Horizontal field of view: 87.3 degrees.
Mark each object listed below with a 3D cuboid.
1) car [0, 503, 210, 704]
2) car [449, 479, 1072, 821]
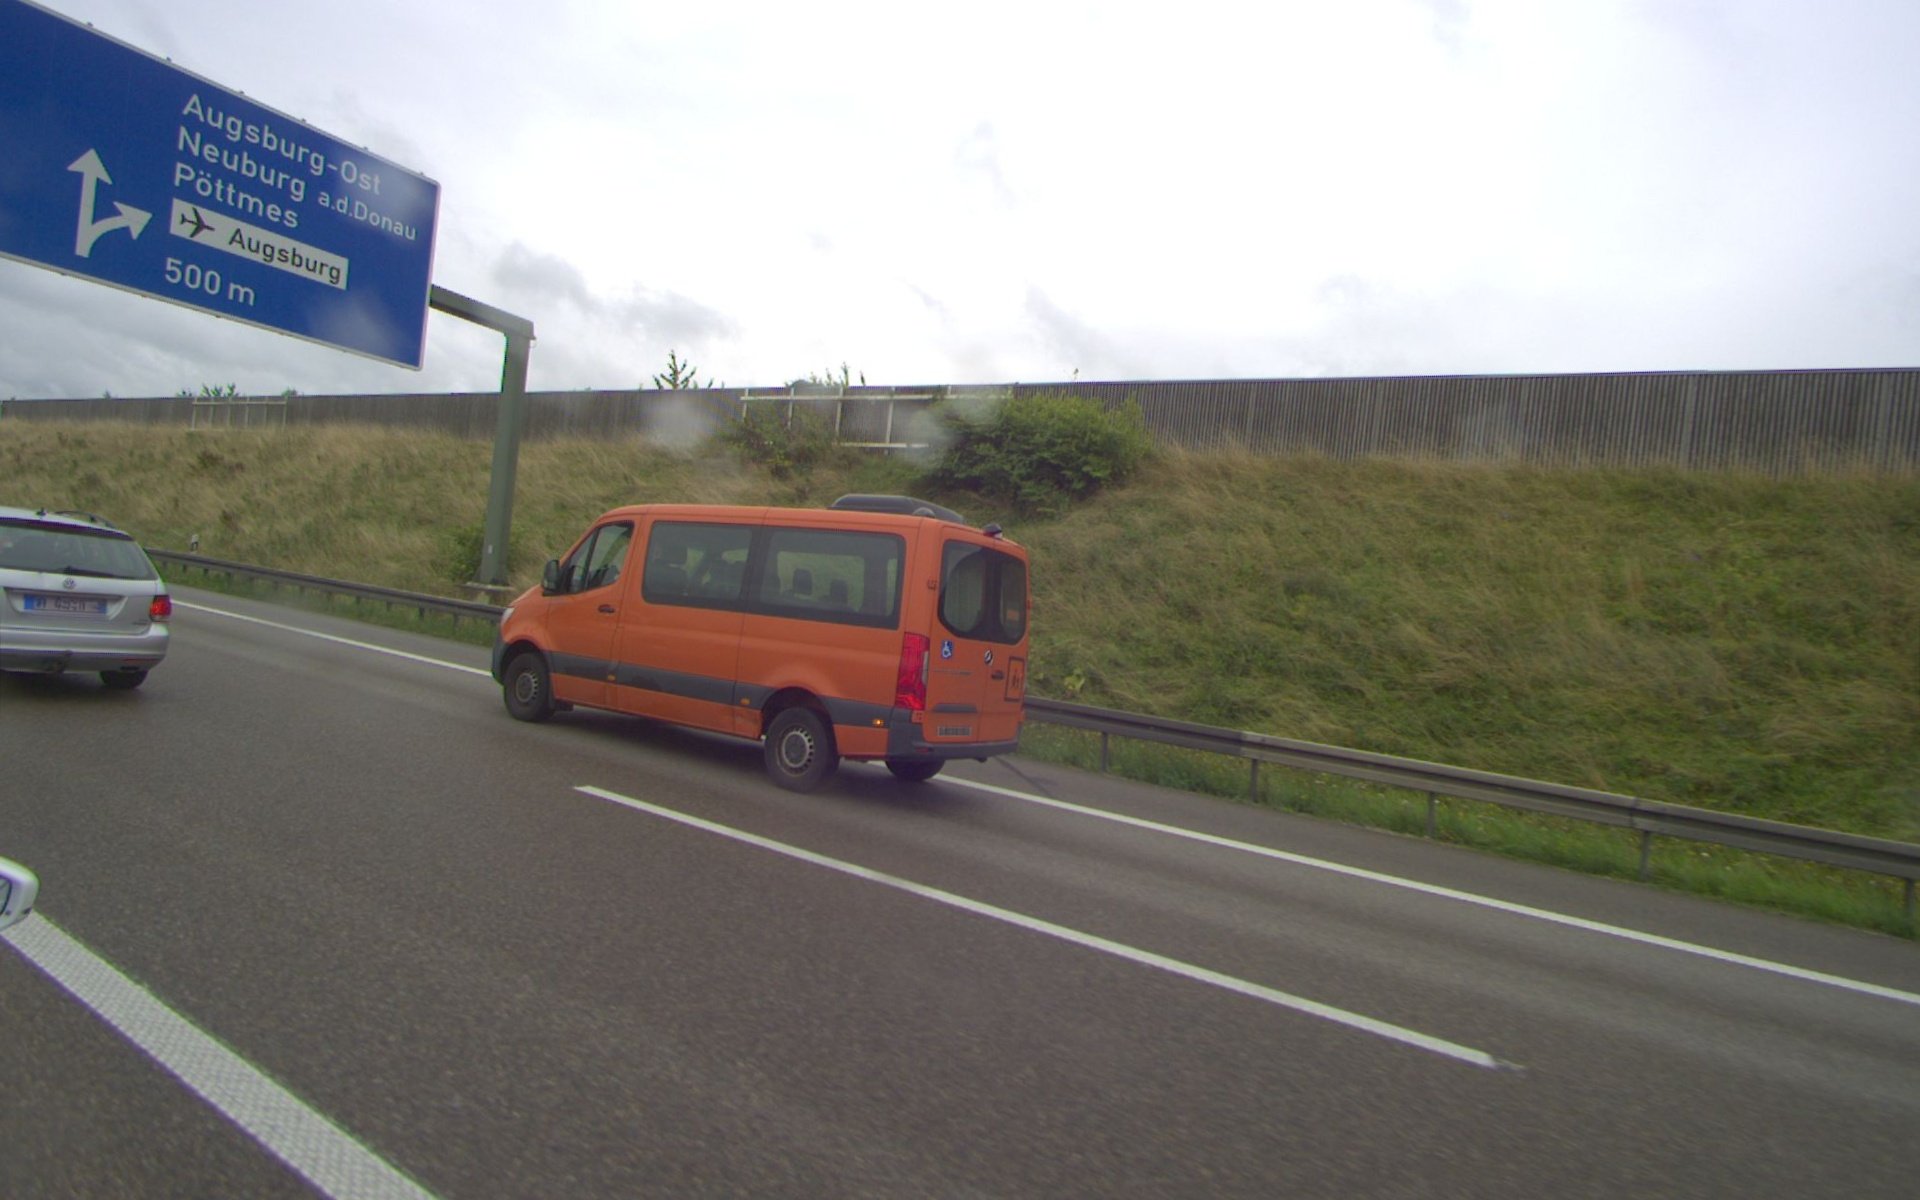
[{"bbox_3d":[-8.680,-0.145,8.821,4.441,1.442,1.744,7,-1,31],"label":"car"},{"bbox_3d":[-2.202,0.273,10.004,6.079,2.343,2.089,7,-1,32],"label":"car"}]
